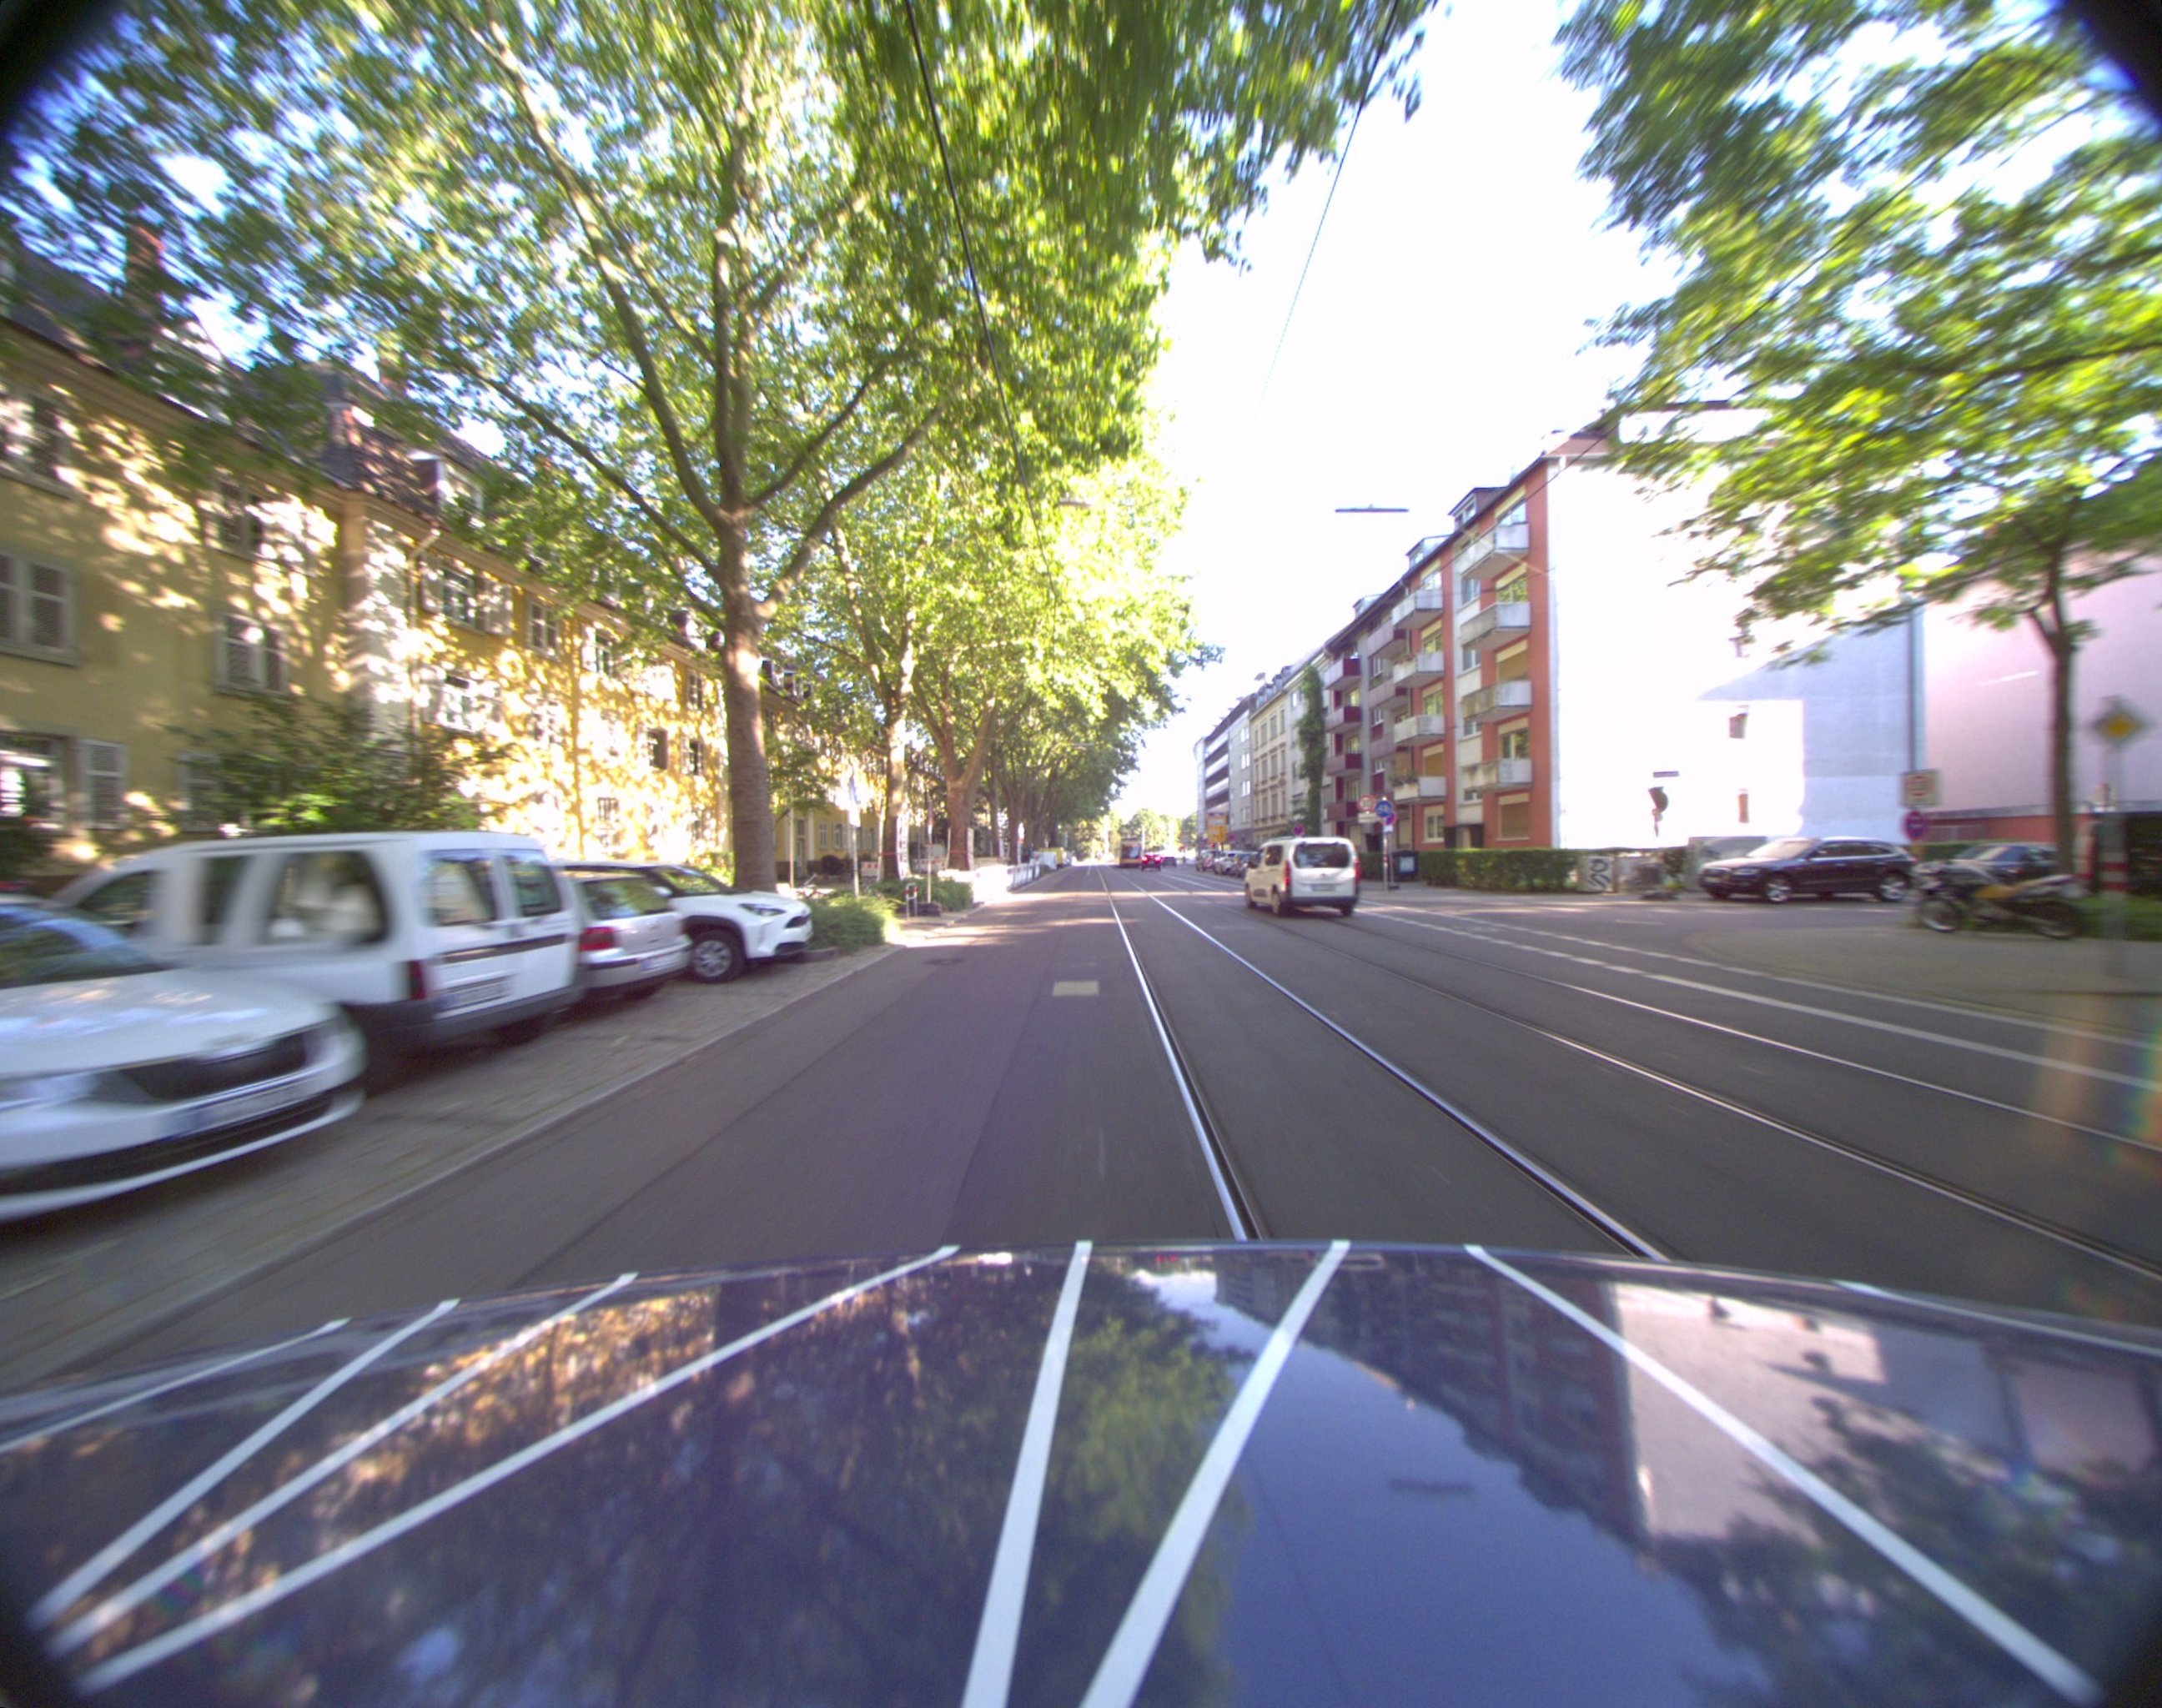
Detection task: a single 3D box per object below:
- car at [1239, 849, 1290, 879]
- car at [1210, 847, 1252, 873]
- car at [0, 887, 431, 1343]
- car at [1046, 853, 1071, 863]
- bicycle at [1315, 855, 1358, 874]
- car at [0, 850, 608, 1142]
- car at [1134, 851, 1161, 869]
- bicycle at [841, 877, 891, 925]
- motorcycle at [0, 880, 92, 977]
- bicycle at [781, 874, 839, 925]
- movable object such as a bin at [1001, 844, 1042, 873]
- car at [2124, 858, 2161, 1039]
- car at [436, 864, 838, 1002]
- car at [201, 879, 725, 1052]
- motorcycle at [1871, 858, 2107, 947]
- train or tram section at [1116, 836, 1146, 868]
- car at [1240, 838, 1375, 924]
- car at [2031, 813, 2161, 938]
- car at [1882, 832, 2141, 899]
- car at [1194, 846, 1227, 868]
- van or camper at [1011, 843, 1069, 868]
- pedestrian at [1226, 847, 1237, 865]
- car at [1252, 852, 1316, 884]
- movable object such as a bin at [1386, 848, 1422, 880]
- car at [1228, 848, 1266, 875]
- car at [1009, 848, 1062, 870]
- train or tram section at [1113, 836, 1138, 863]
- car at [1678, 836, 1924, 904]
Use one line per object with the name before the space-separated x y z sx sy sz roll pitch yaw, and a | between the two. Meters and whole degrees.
car | 10.328 0.545 43.136 1.824 1.577 4.005 -2 0 -1
car | 10.484 0.378 53.405 1.957 1.639 4.881 -3 1 0
car | -5.909 0.985 3.534 4.380 1.533 1.802 -1 0 5
car | -3.458 0.599 117.933 3.891 1.488 1.741 0 0 -2
bicycle | 15.251 0.608 45.399 2.295 0.987 0.699 -3 1 -2
car | -6.069 0.887 5.700 3.852 1.762 1.917 -1 1 5
car | 6.334 0.545 72.530 1.858 1.591 4.461 -3 1 -3
bicycle | -5.256 1.130 18.677 0.637 1.064 1.809 -1 1 1
motorcycle | -14.907 1.009 10.304 1.995 1.243 0.713 -1 1 0
bicycle | -6.666 1.094 18.809 0.692 1.147 1.948 -1 1 1
movable object such as a bin | -4.754 0.318 60.983 1.482 2.256 3.283 -1 0 35
car | 9.700 0.762 4.374 1.810 1.469 4.090 -3 1 2
car | -5.568 0.946 9.973 4.098 1.512 1.916 -1 1 0
car | -5.968 1.028 7.663 3.852 1.424 1.852 -1 1 5
motorcycle | 14.404 0.744 12.205 0.904 1.273 2.349 -1 -2 -1
train or tram section | 5.878 -0.228 91.718 2.915 3.465 14.198 -1 0 1
car | 5.377 0.561 18.762 1.896 1.821 4.895 -1 0 1
car | 19.558 0.337 12.428 2.003 2.111 4.712 -2 1 -27
car | 24.332 0.270 20.010 4.318 1.597 1.937 -1 2 1
car | 10.944 0.232 64.358 1.793 1.760 4.470 -3 0 -2
van or camper | -4.326 0.137 80.730 5.939 2.614 2.270 -1 2 3
pedestrian | 15.305 0.157 77.327 0.866 1.774 0.736 -3 1 0
car | 10.027 0.656 37.897 1.957 1.387 4.863 -4 0 2
movable object such as a bin | 13.962 0.412 32.863 1.214 1.357 0.747 -1 1 2
car | 10.449 0.457 48.007 1.630 1.563 3.781 -3 1 2
car | -4.234 0.444 71.144 4.846 2.001 2.063 -1 0 1
train or tram section | 6.057 -0.627 105.467 2.915 3.465 13.369 -1 0 1
car | 18.716 0.387 19.941 4.544 1.597 1.937 -1 2 1
